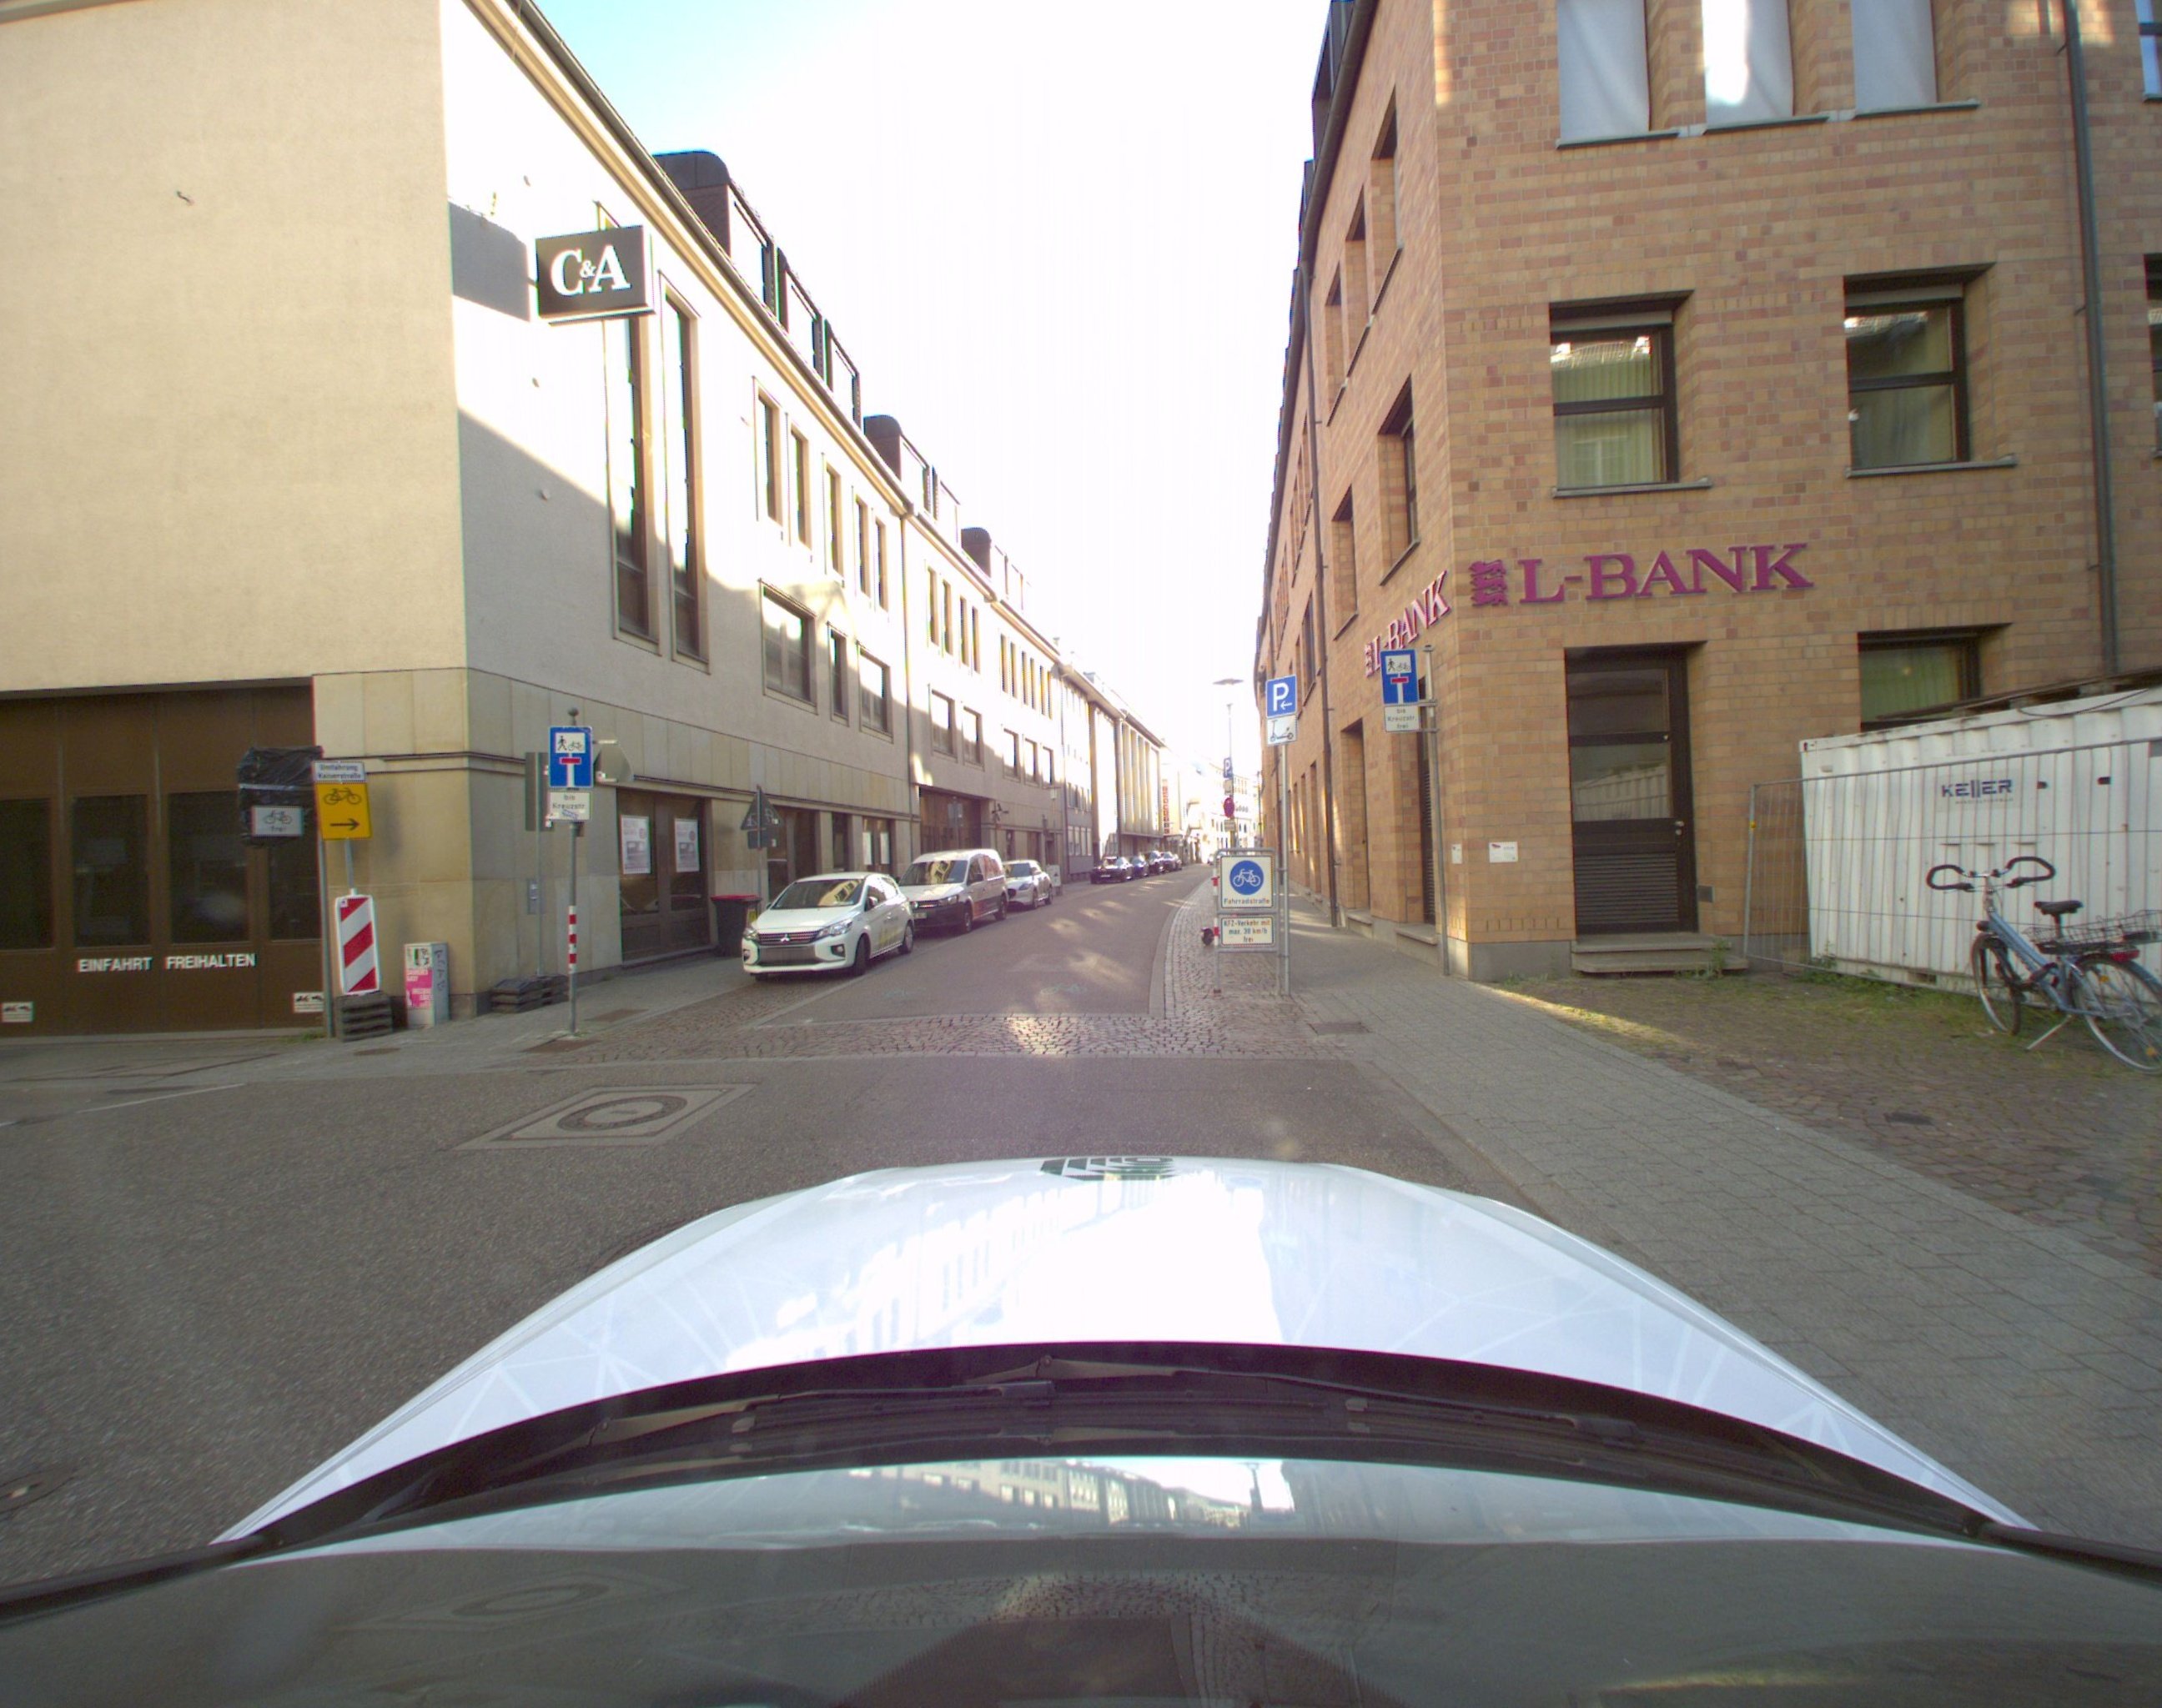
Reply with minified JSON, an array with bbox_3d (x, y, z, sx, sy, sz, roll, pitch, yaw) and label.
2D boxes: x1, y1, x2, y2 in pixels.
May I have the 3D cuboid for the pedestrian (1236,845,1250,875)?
[{"bbox_3d":[9.295,0.356,46.727,0.662,1.730,0.840,0,-1,1],"label":"pedestrian"}]

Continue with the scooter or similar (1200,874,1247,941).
[{"bbox_3d":[2.456,0.925,14.075,0.767,1.136,0.269,0,-1,4],"label":"scooter or similar"}]

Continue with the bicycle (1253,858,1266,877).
[{"bbox_3d":[10.009,0.748,45.607,0.508,0.994,2.654,-2,0,9],"label":"bicycle"}]

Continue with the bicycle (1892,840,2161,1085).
[{"bbox_3d":[6.154,0.585,5.207,0.546,1.317,1.653,-3,0,13],"label":"bicycle"}]

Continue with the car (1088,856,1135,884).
[{"bbox_3d":[1.760,0.859,45.284,1.868,1.332,4.114,-2,0,12],"label":"car"}]

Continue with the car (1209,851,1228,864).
[{"bbox_3d":[15.504,0.345,91.796,1.677,1.370,3.632,-3,0,14],"label":"car"}]

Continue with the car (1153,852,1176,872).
[{"bbox_3d":[6.672,0.613,64.833,1.329,1.494,3.522,-2,0,12],"label":"car"}]

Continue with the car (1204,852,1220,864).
[{"bbox_3d":[17.162,0.506,106.735,1.677,1.370,3.632,-3,0,14],"label":"car"}]

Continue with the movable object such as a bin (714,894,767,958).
[{"bbox_3d":[-5.898,1.236,14.123,0.607,1.060,0.713,0,-1,-1],"label":"movable object such as a bin"}]

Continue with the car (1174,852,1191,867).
[{"bbox_3d":[10.212,0.545,81.766,1.329,1.494,3.358,-2,0,12],"label":"car"}]

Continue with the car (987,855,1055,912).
[{"bbox_3d":[-1.765,0.843,24.911,1.264,1.507,3.410,-4,0,9],"label":"car"}]

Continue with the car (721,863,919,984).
[{"bbox_3d":[-3.906,0.962,12.912,1.663,1.507,3.796,-4,0,3],"label":"car"}]

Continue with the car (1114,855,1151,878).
[{"bbox_3d":[3.322,0.764,51.699,1.712,1.340,4.014,-3,0,12],"label":"car"}]

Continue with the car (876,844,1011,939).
[{"bbox_3d":[-2.985,0.751,18.757,1.661,1.818,4.562,-4,0,8],"label":"car"}]
